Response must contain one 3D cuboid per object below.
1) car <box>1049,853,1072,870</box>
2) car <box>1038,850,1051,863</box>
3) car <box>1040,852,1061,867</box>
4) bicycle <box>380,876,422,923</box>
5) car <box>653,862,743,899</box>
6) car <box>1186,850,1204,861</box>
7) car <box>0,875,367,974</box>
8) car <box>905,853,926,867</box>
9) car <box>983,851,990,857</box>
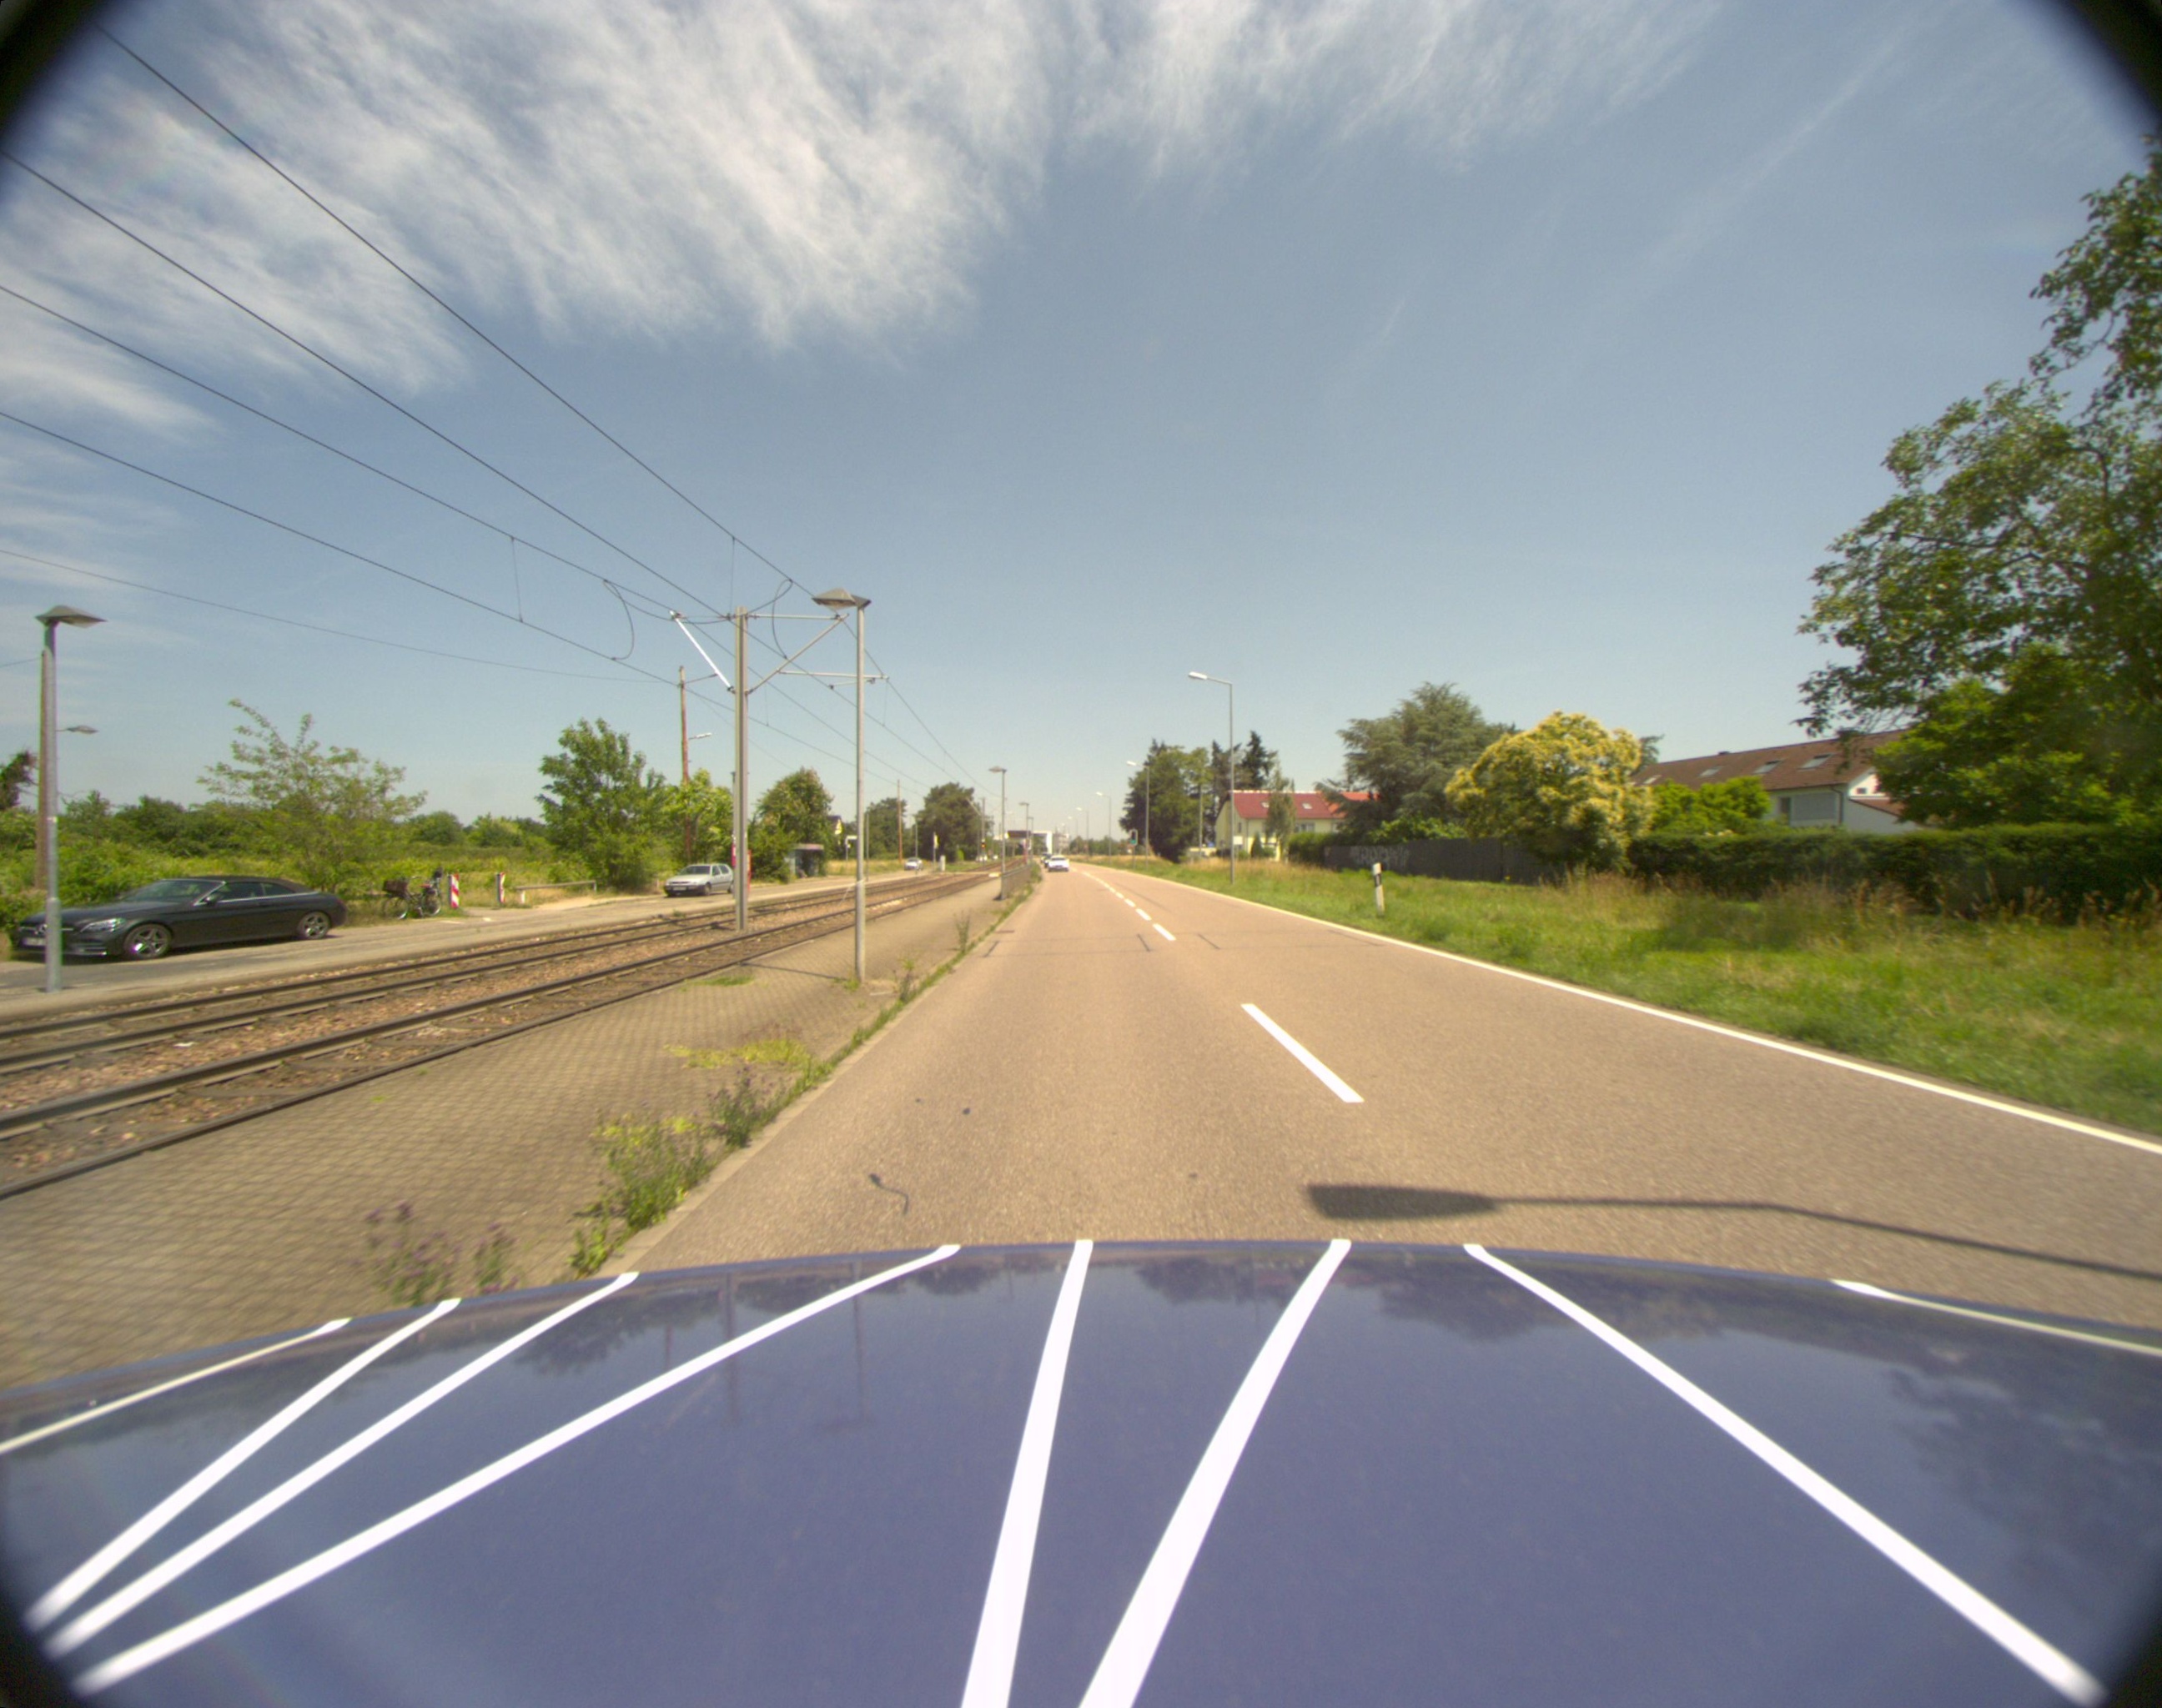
[{"bbox_3d":[-1.874,0.637,69.628,1.856,1.447,3.706,-1,1,1],"label":"car"},{"bbox_3d":[-6.127,0.401,128.476,1.938,2.002,3.999,-1,1,0],"label":"car"},{"bbox_3d":[-3.341,0.611,84.024,1.998,1.576,4.000,-1,1,1],"label":"car"},{"bbox_3d":[-19.555,1.283,21.889,0.705,1.261,1.676,-1,1,-35],"label":"bicycle"},{"bbox_3d":[-16.839,1.109,33.637,1.944,1.414,3.999,-1,1,-1],"label":"car"},{"bbox_3d":[16.287,0.239,108.551,1.711,1.483,4.184,-1,1,-4],"label":"car"},{"bbox_3d":[-17.184,1.230,14.961,1.624,1.414,4.872,-1,1,0],"label":"car"},{"bbox_3d":[-19.391,0.713,89.268,1.717,1.480,4.000,-1,1,-2],"label":"car"},{"bbox_3d":[-27.651,-0.035,222.441,1.863,1.816,4.585,-1,1,-3],"label":"car"}]
